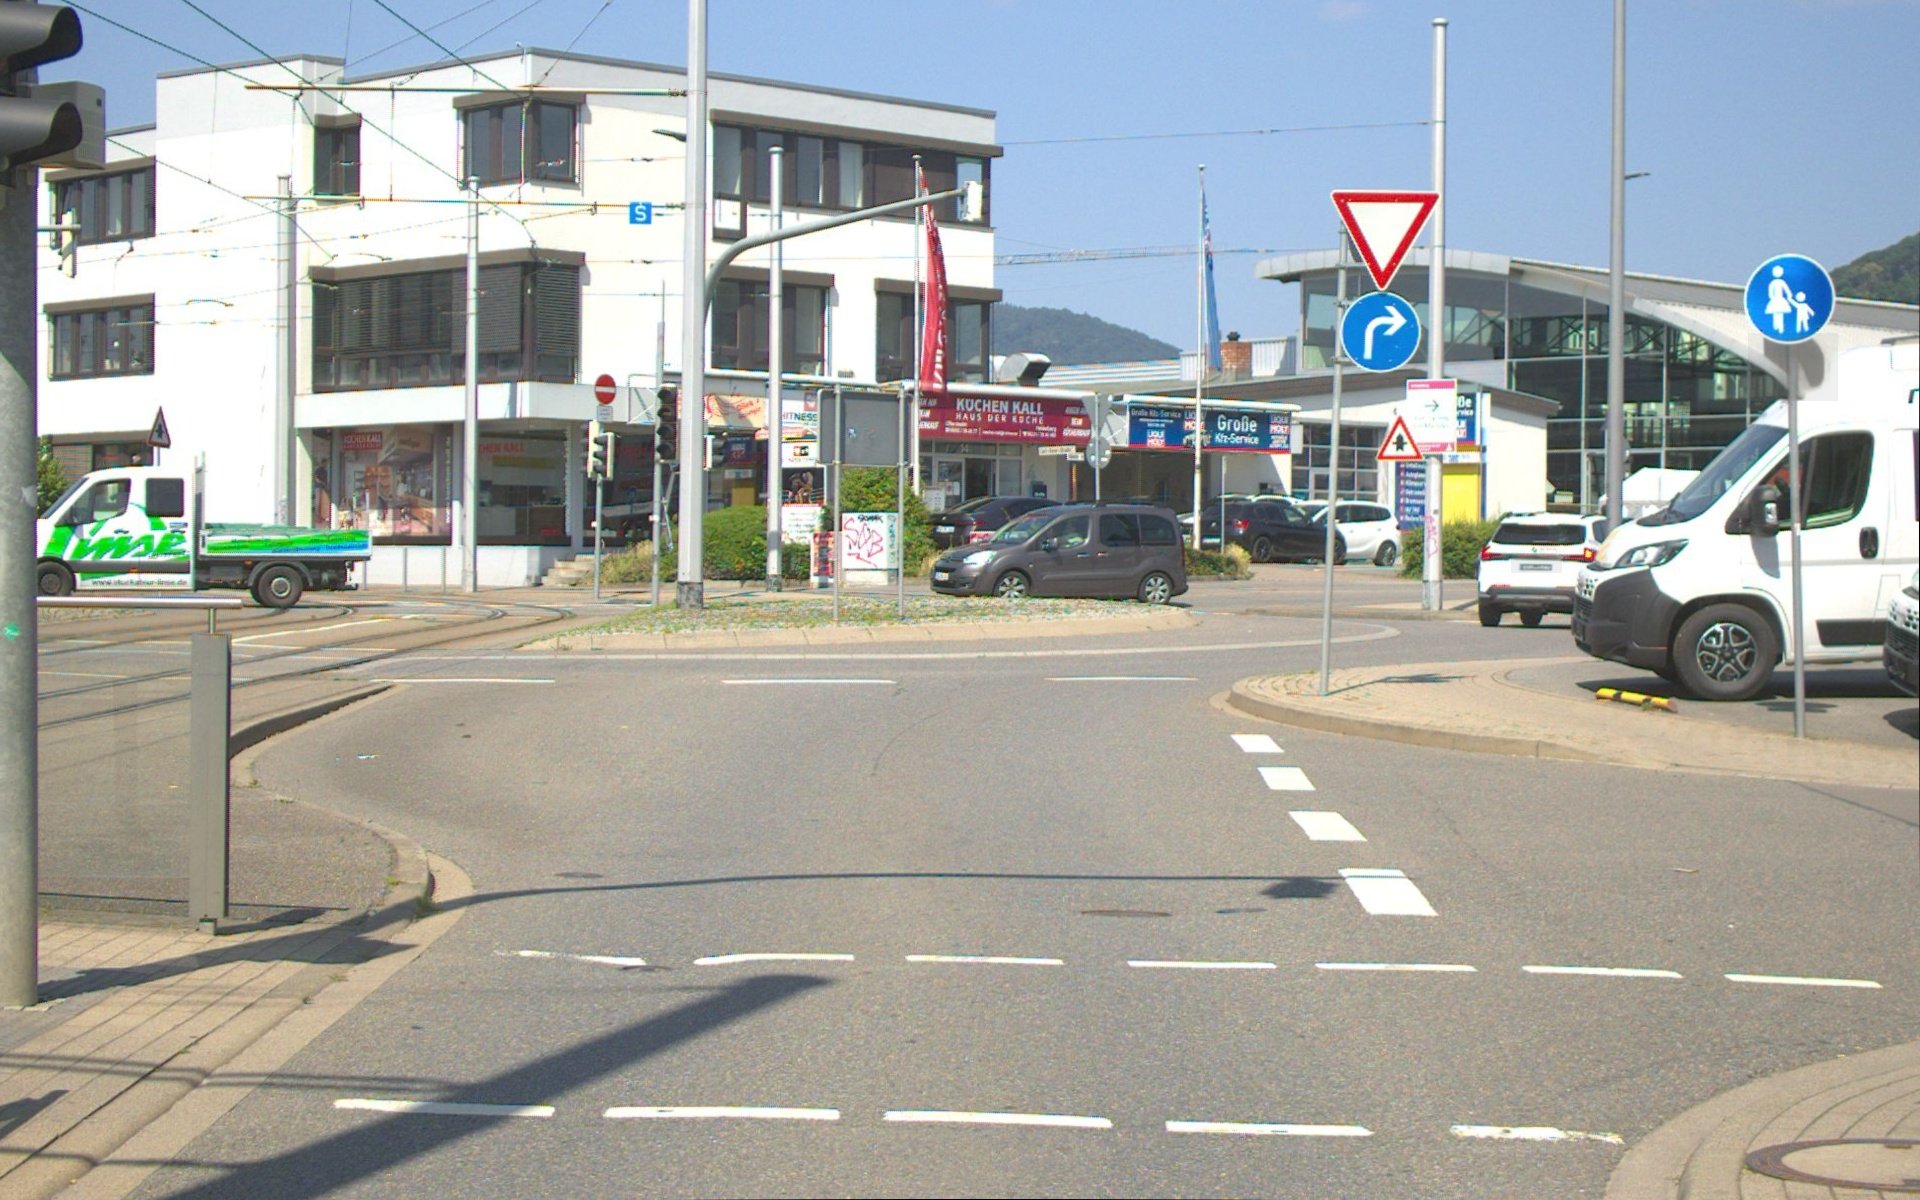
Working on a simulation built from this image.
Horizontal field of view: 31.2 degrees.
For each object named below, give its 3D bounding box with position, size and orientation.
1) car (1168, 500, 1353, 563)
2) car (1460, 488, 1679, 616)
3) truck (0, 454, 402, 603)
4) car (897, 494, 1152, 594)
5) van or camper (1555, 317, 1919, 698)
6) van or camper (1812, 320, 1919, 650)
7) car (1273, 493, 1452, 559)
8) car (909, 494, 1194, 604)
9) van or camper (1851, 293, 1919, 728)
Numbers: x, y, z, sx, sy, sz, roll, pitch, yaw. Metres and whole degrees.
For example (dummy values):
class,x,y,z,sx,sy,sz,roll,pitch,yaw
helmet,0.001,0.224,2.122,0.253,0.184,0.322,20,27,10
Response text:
class,x,y,z,sx,sy,sz,roll,pitch,yaw
car,7.006,-1.588,79.916,2.031,1.422,4.306,2,2,43
car,8.735,-0.708,48.976,1.996,1.727,4.558,1,1,24
truck,-12.473,-1.169,56.421,6.366,2.329,2.210,0,1,-14
car,1.349,-1.141,69.661,5.266,1.959,1.965,-1,2,-43
van or camper,7.552,-0.710,25.960,5.811,2.764,2.091,0,2,3
van or camper,11.725,-1.108,31.805,7.061,2.936,2.335,-1,1,0
car,10.107,-1.828,86.013,1.885,1.583,4.915,-1,0,43
car,1.557,-0.871,58.566,4.394,1.812,1.990,0,1,-23
van or camper,8.992,-0.580,22.997,5.507,2.804,2.048,1,3,4
